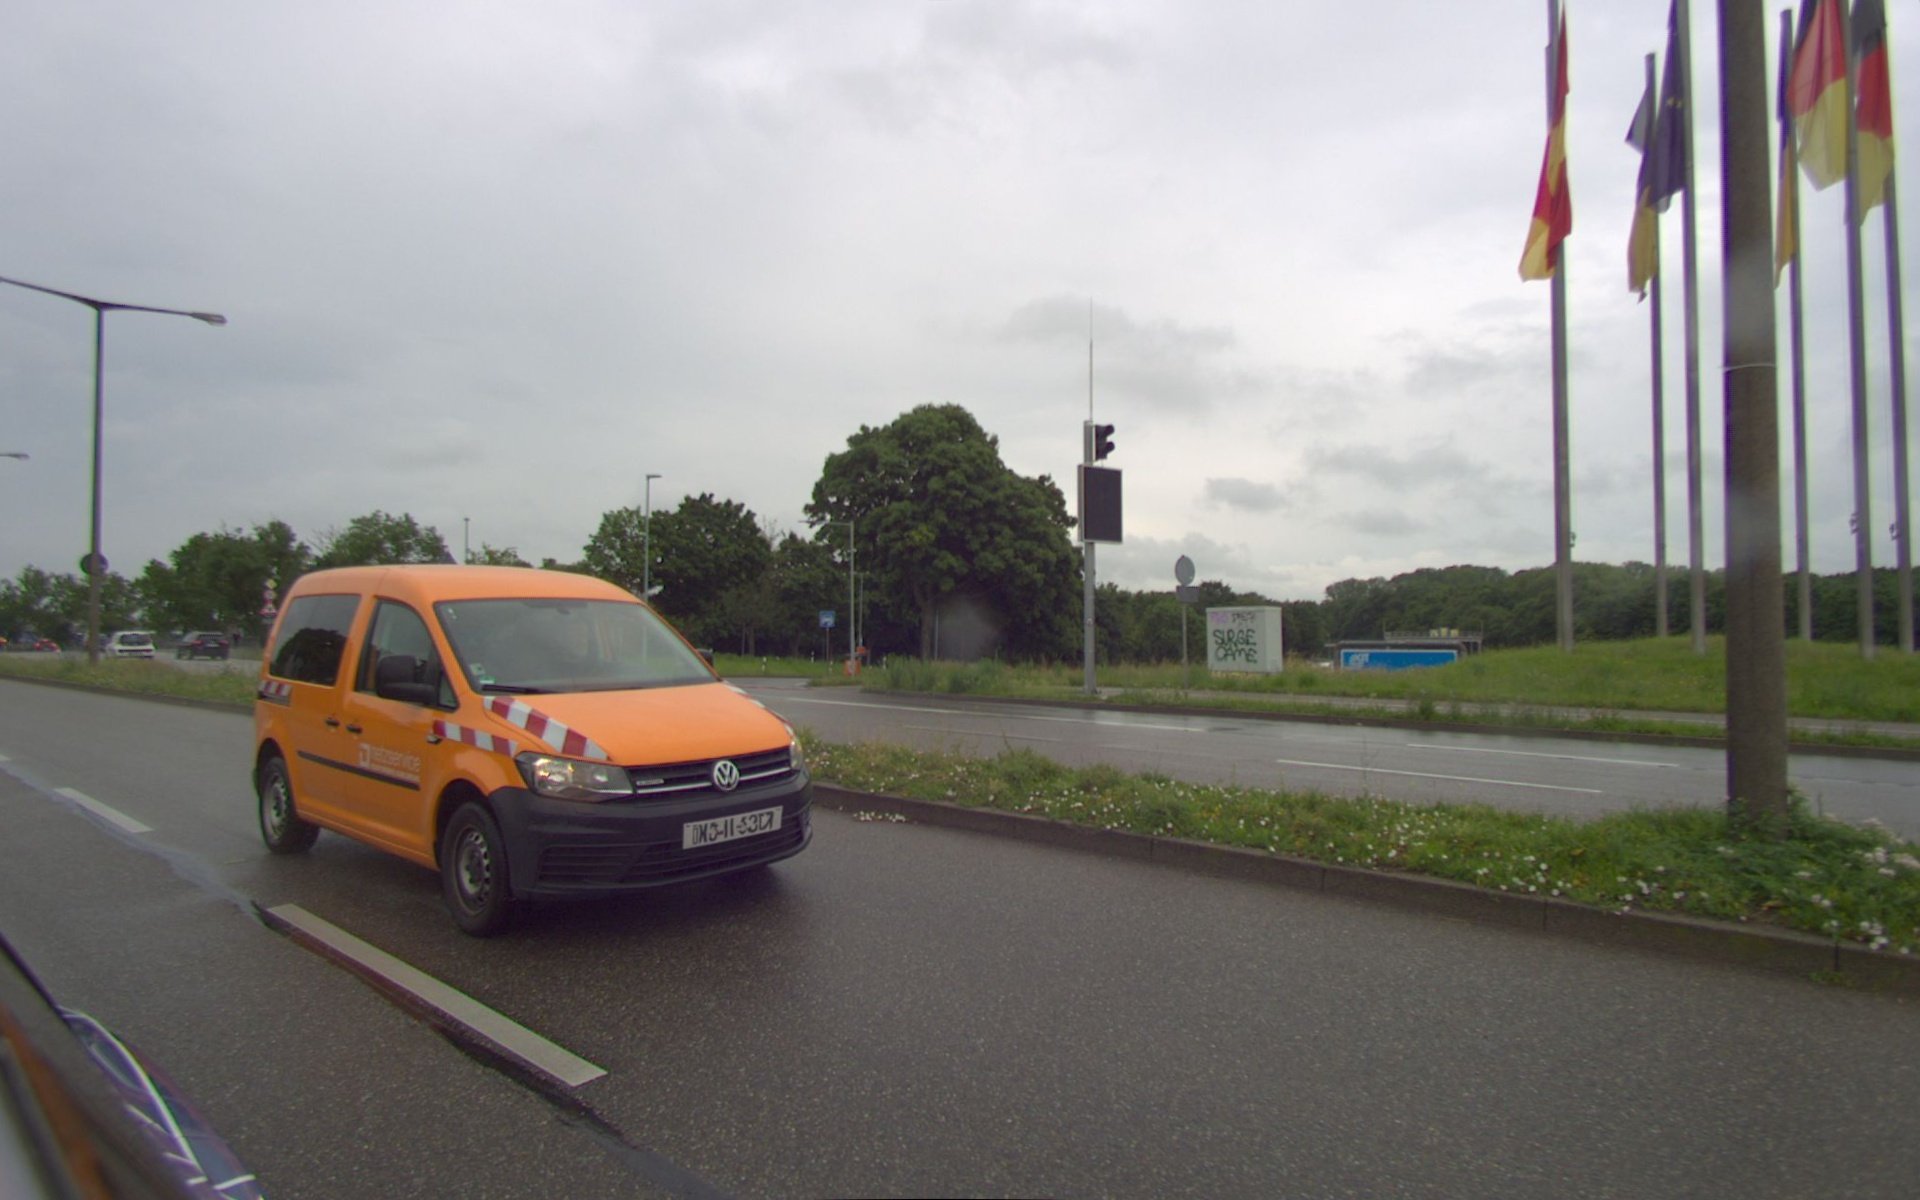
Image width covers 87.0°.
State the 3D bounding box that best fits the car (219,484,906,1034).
[{"bbox_3d":[-2.672,0.632,5.989,4.846,2.034,1.717,-2,-1,41],"label":"car"}]

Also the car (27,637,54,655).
[{"bbox_3d":[-97.401,4.821,107.157,4.032,1.764,1.825,-1,-1,44],"label":"car"}]

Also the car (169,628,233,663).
[{"bbox_3d":[-41.402,2.451,55.172,4.026,1.764,1.828,-1,-1,38],"label":"car"}]

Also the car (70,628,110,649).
[{"bbox_3d":[-67.331,2.971,78.346,4.030,1.533,1.826,-1,-1,41],"label":"car"}]

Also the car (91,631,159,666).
[{"bbox_3d":[-42.226,2.420,51.137,4.026,1.634,1.828,-1,-1,38],"label":"car"}]
